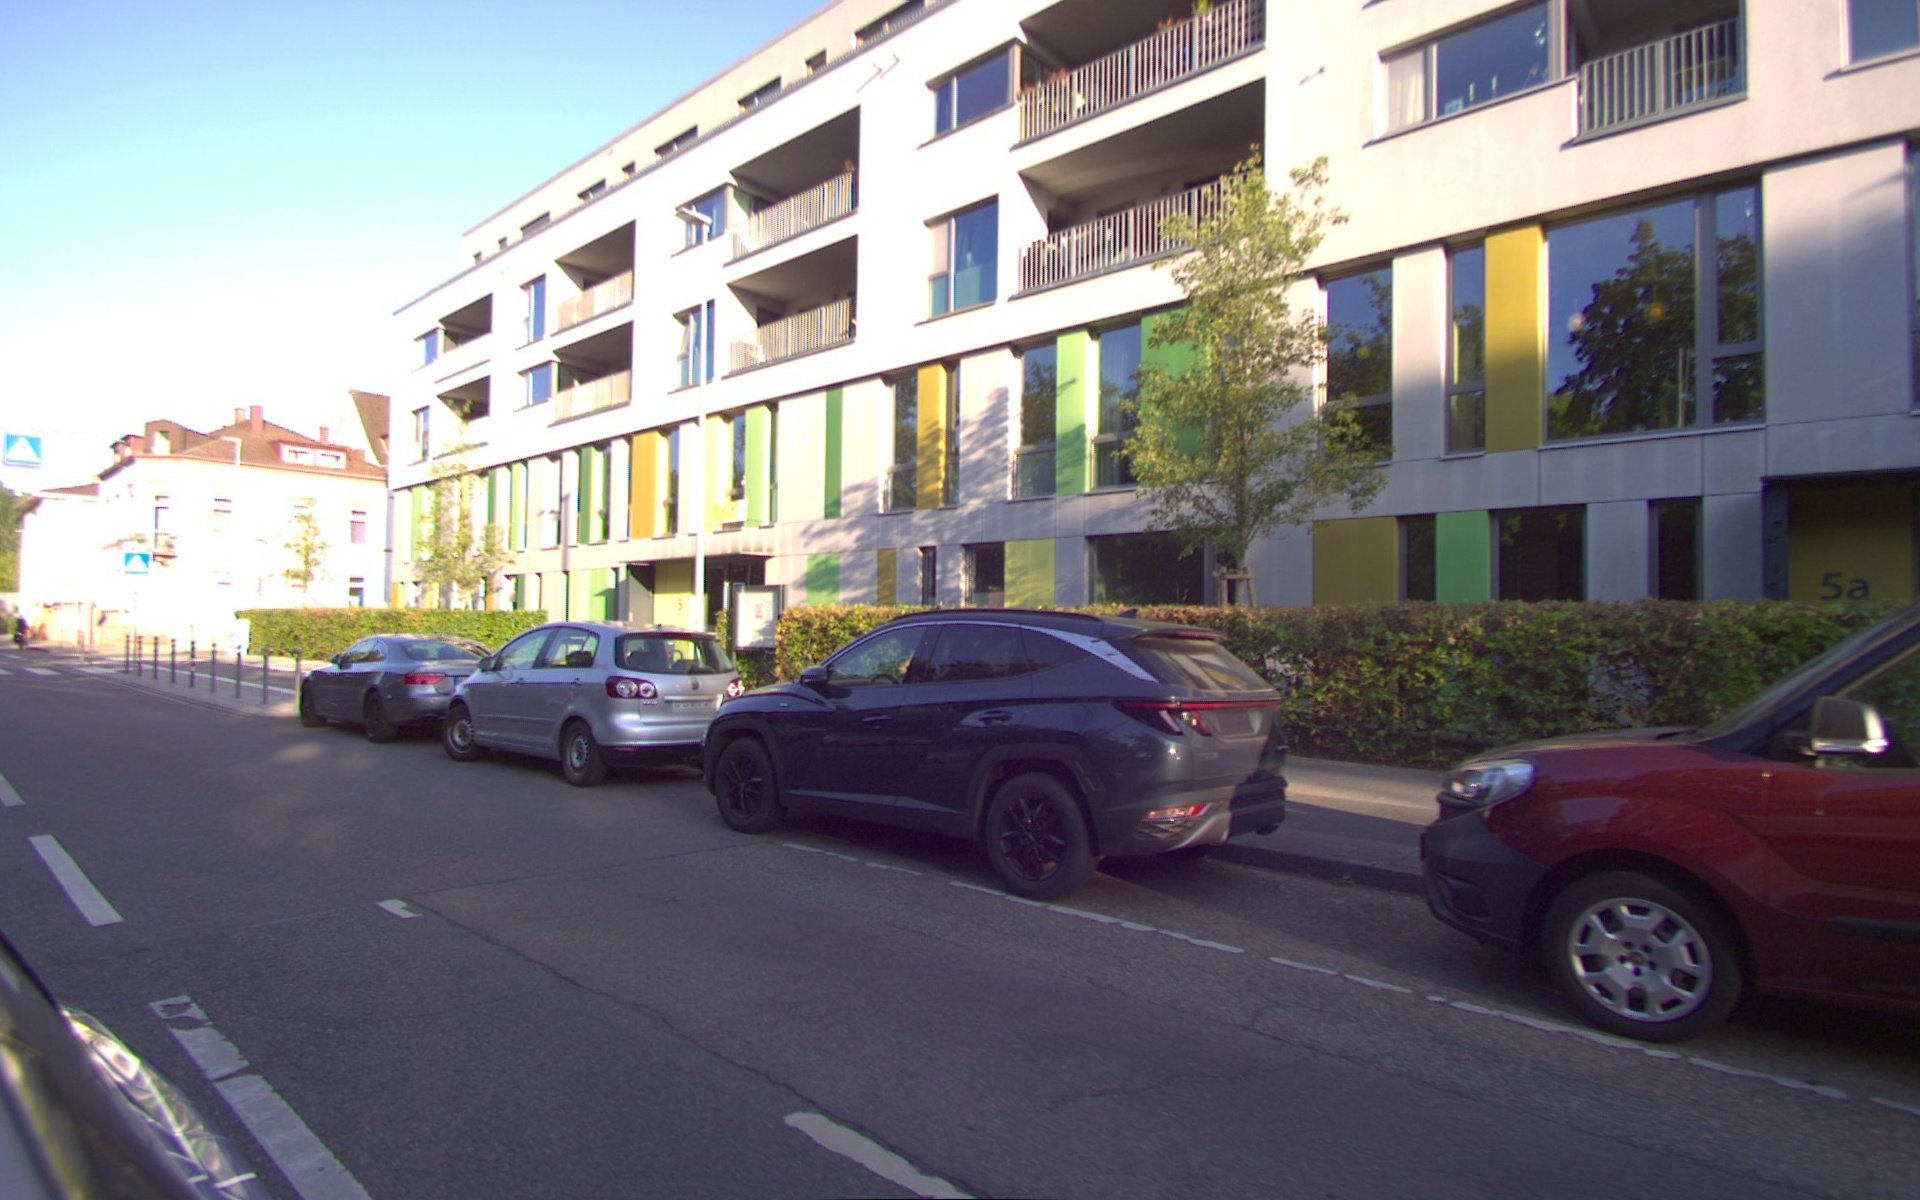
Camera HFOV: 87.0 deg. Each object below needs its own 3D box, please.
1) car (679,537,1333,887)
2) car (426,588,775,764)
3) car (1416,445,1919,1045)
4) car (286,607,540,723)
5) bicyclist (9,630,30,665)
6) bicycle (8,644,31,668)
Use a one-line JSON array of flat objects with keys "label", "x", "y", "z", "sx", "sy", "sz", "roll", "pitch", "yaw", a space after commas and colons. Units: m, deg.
[{"label": "car", "x": 0.071, "y": 0.610, "z": 7.018, "sx": 4.414, "sy": 1.689, "sz": 1.724, "roll": -1, "pitch": -3, "yaw": 41}, {"label": "car", "x": -3.990, "y": 0.705, "z": 10.916, "sx": 4.112, "sy": 1.545, "sz": 1.724, "roll": -1, "pitch": -1, "yaw": 40}, {"label": "car", "x": 4.079, "y": 0.481, "z": 3.508, "sx": 4.236, "sy": 1.904, "sz": 1.788, "roll": -1, "pitch": -3, "yaw": 41}, {"label": "car", "x": -7.718, "y": 0.809, "z": 14.090, "sx": 4.395, "sy": 1.367, "sz": 1.723, "roll": -1, "pitch": -2, "yaw": 42}, {"label": "bicyclist", "x": -45.360, "y": 2.272, "z": 48.799, "sx": 0.757, "sy": 1.657, "sz": 0.620, "roll": -1, "pitch": -2, "yaw": 42}, {"label": "bicycle", "x": -45.289, "y": 2.693, "z": 48.737, "sx": 1.883, "sy": 1.086, "sz": 0.627, "roll": -1, "pitch": -2, "yaw": 42}]
